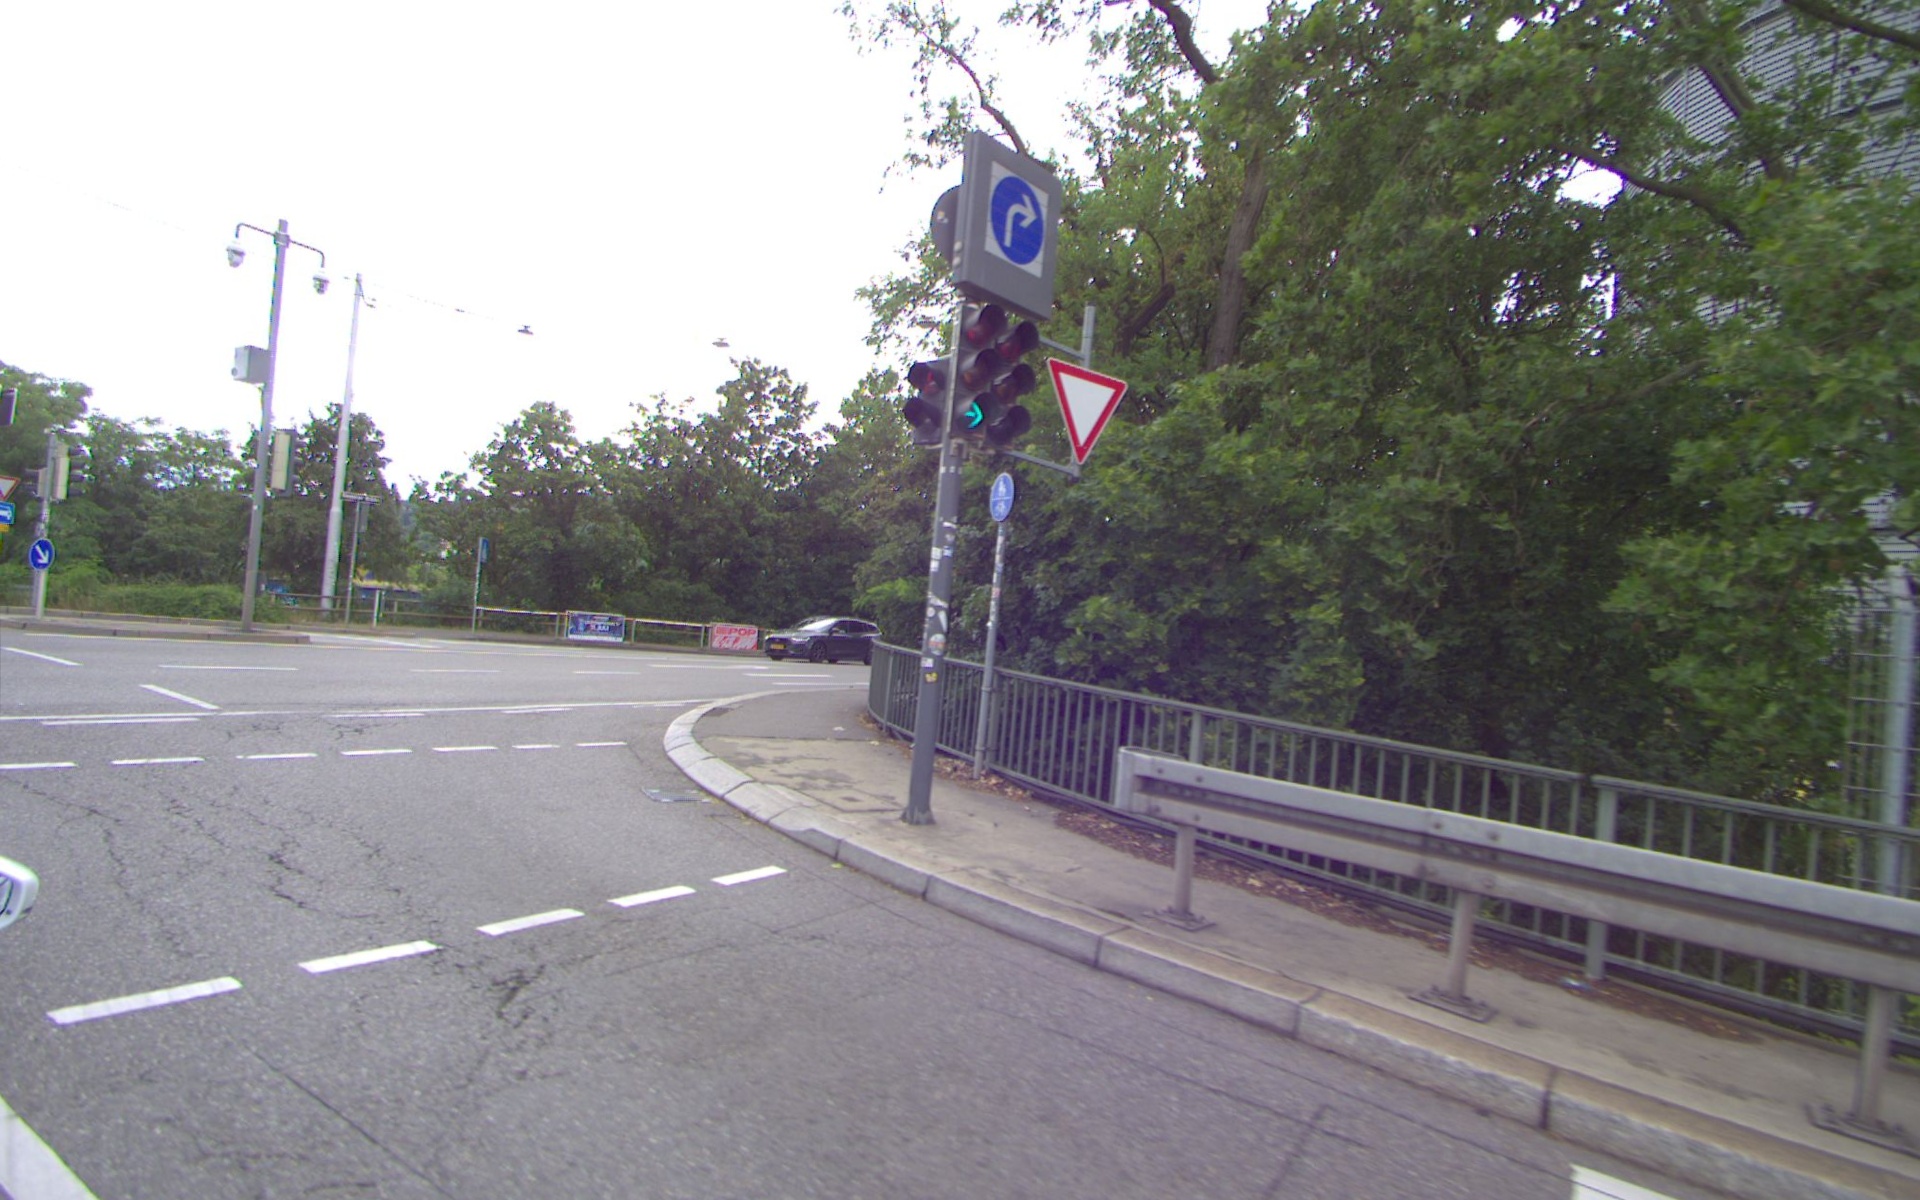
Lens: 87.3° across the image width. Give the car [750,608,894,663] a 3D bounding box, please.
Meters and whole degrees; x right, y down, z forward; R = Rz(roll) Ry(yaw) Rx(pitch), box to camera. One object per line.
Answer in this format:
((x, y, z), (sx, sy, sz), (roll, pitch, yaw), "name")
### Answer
((-4.168, 1.145, 31.114), (1.904, 1.437, 4.440), (3, -2, 33), "car")
